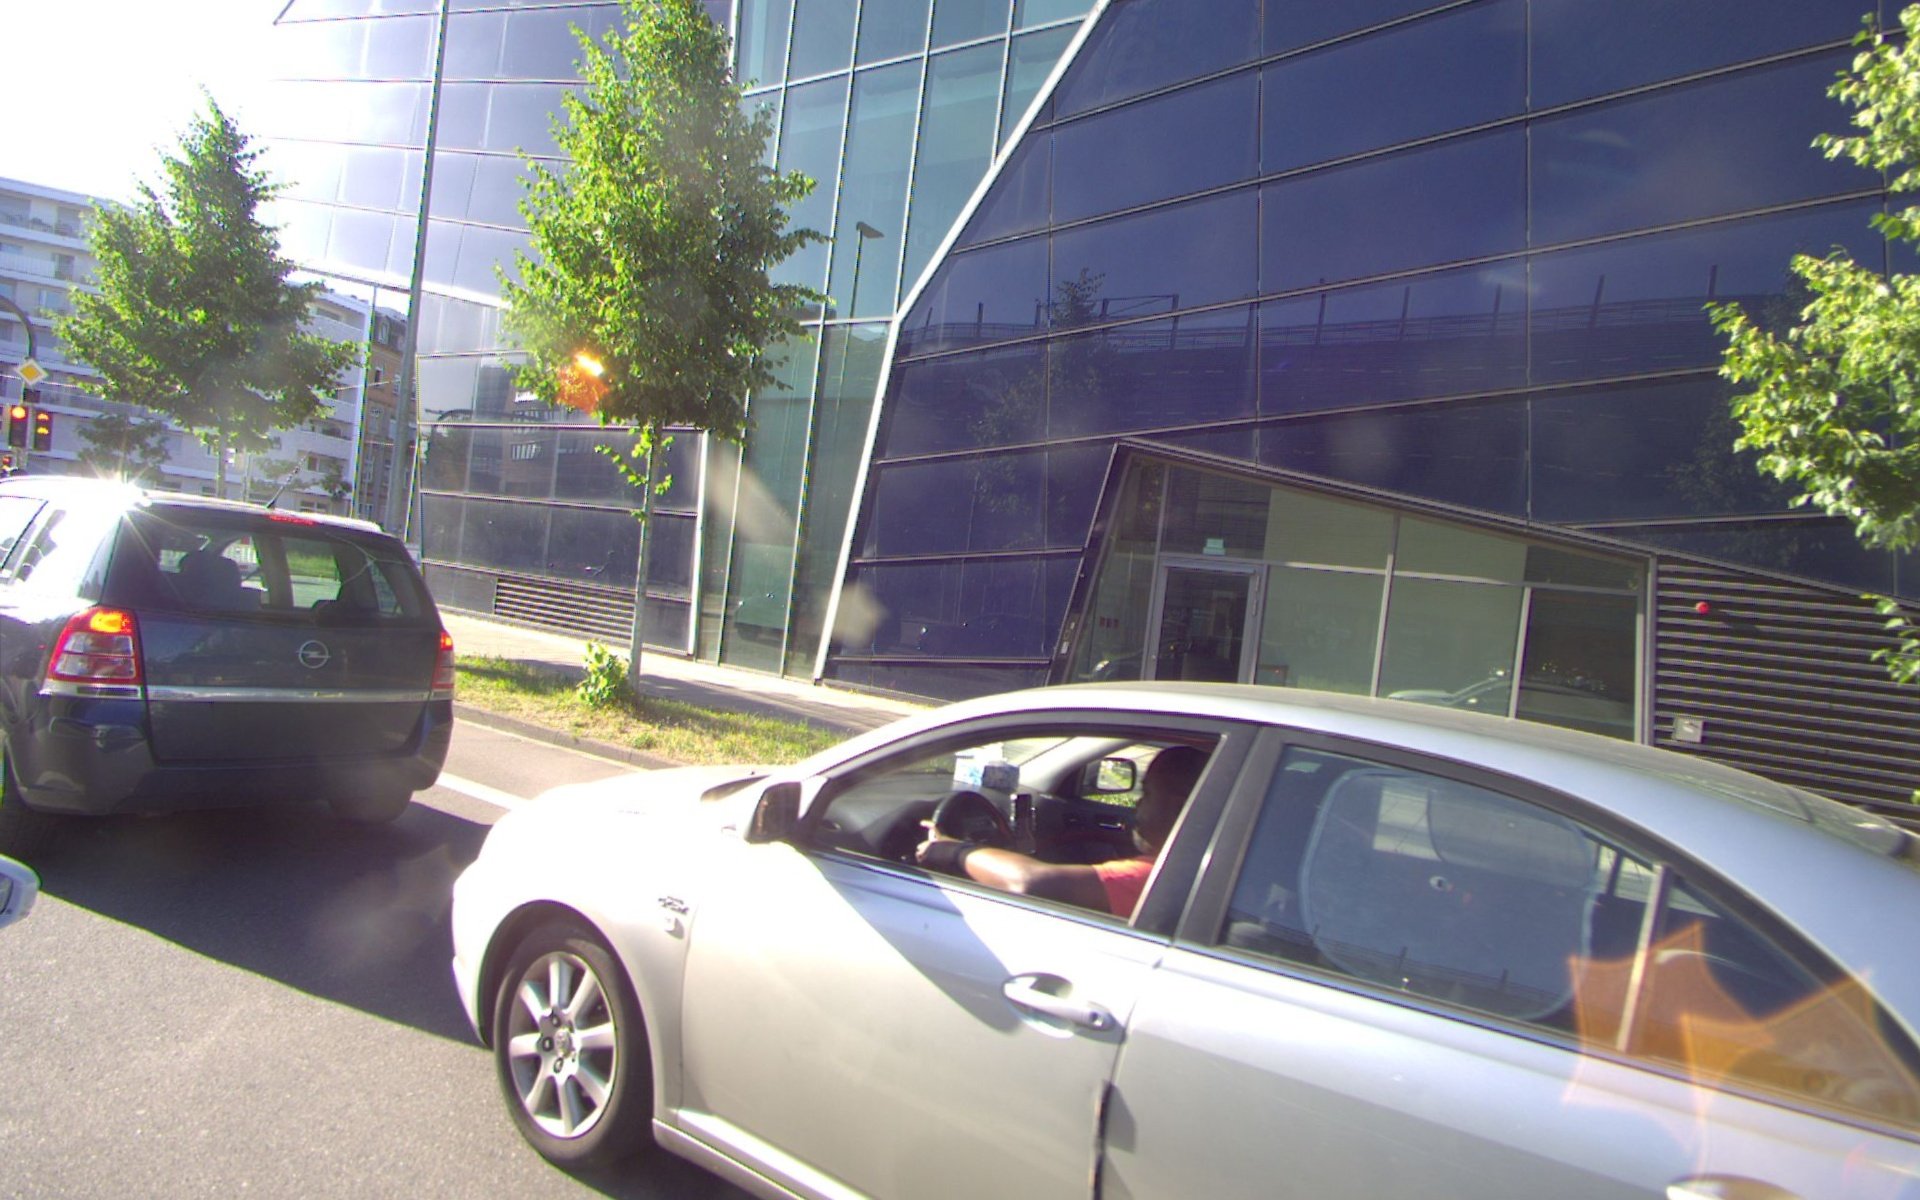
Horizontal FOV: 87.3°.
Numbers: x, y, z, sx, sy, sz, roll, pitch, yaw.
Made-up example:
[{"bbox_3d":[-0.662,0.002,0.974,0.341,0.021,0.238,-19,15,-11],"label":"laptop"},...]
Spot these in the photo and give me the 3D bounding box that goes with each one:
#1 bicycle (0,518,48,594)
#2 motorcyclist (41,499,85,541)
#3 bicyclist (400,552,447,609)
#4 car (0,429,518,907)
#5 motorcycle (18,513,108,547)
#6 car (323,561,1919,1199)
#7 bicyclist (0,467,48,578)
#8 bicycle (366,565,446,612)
[{"bbox_3d":[-15.186,-0.747,15.921,1.899,1.056,0.654,7,1,35],"label":"bicycle"},{"bbox_3d":[-36.566,-3.260,41.010,1.152,1.500,0.926,7,0,30],"label":"motorcyclist"},{"bbox_3d":[-17.289,-0.617,32.448,0.913,1.727,0.768,7,1,3],"label":"bicyclist"},{"bbox_3d":[-4.561,0.140,5.453,4.190,1.715,1.749,6,-2,32],"label":"car"},{"bbox_3d":[-36.592,-2.834,41.059,1.152,1.013,2.457,7,-1,29],"label":"motorcycle"},{"bbox_3d":[0.527,0.909,2.502,4.553,1.499,1.747,6,0,33],"label":"car"},{"bbox_3d":[-15.105,-1.242,15.945,0.956,1.663,0.654,8,1,35],"label":"bicyclist"},{"bbox_3d":[-17.872,-0.364,32.473,2.042,1.278,0.768,7,0,3],"label":"bicycle"}]
